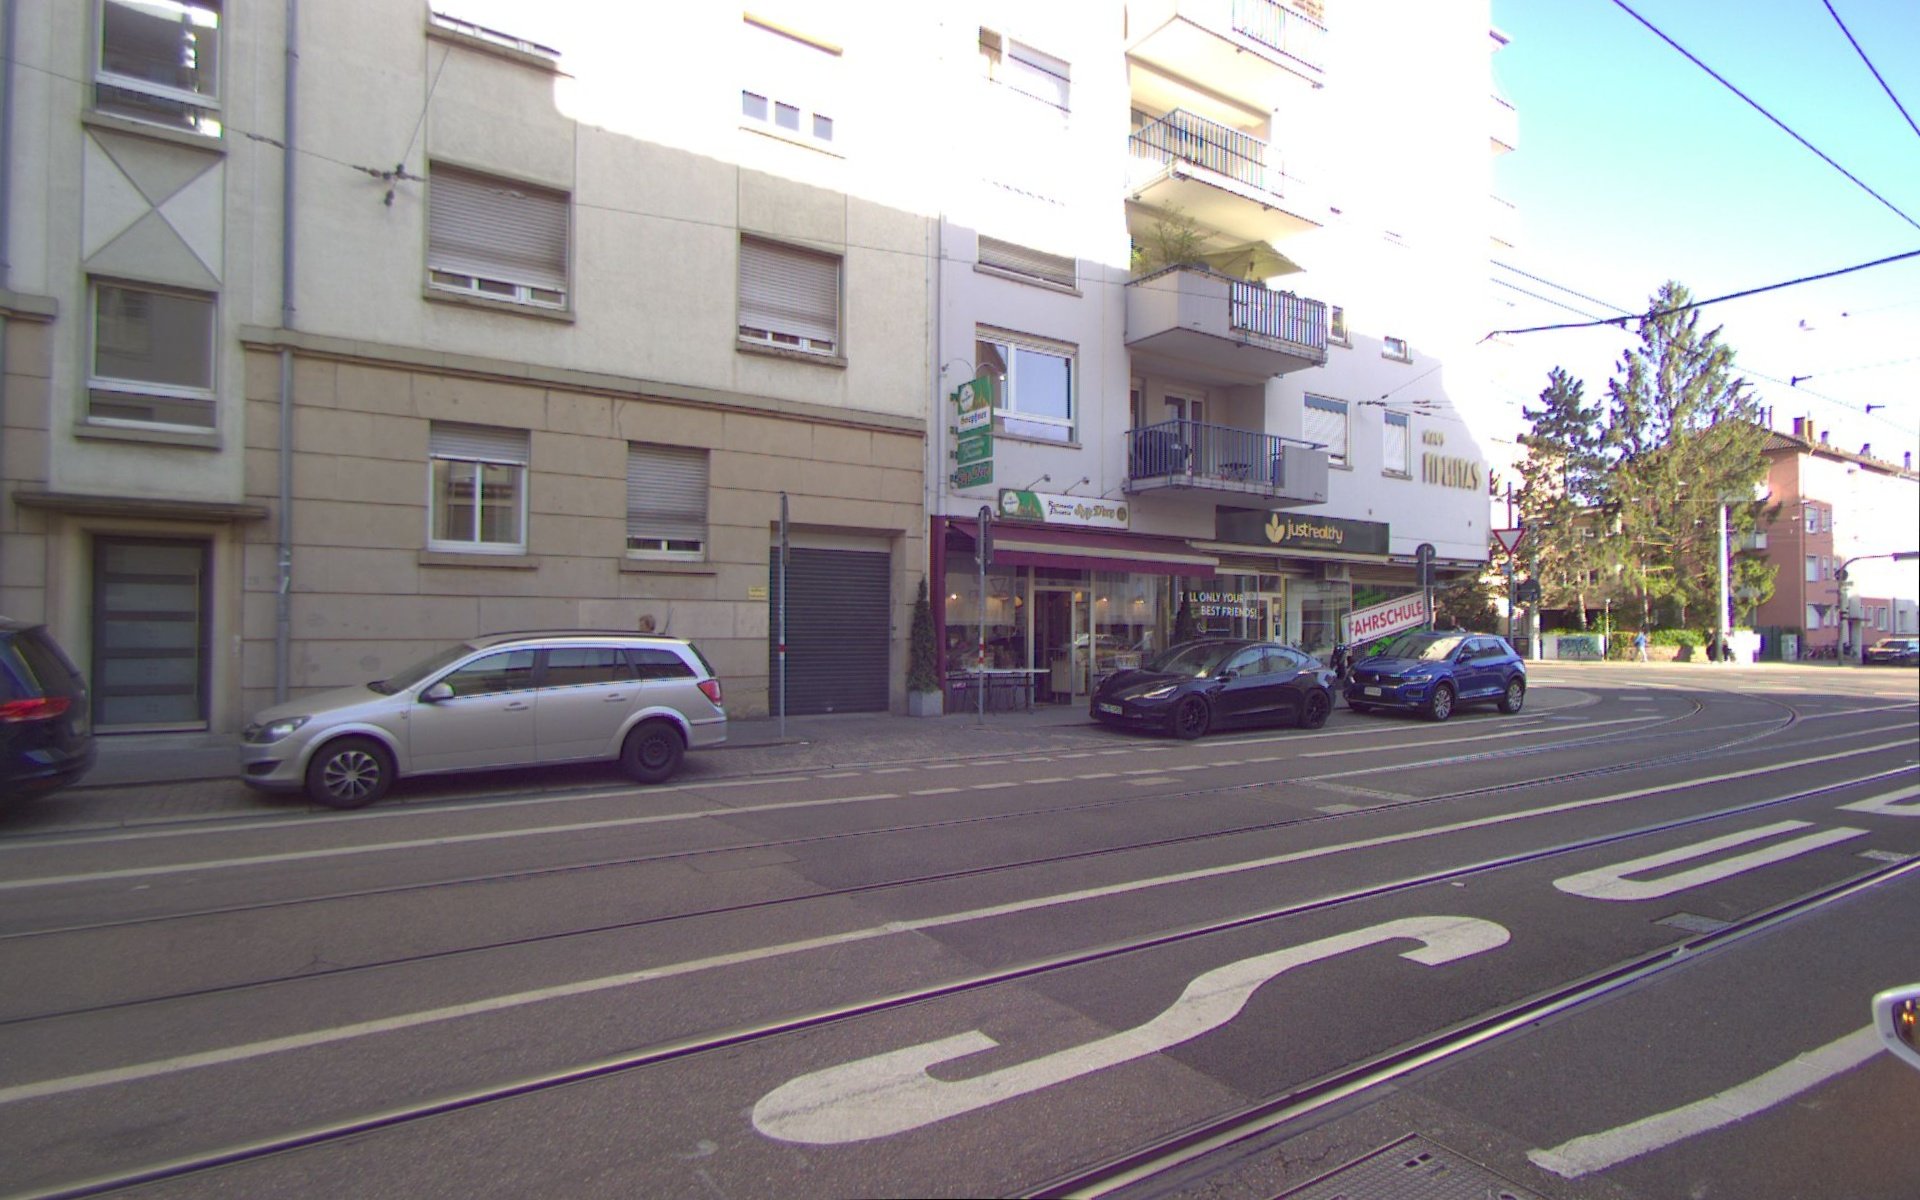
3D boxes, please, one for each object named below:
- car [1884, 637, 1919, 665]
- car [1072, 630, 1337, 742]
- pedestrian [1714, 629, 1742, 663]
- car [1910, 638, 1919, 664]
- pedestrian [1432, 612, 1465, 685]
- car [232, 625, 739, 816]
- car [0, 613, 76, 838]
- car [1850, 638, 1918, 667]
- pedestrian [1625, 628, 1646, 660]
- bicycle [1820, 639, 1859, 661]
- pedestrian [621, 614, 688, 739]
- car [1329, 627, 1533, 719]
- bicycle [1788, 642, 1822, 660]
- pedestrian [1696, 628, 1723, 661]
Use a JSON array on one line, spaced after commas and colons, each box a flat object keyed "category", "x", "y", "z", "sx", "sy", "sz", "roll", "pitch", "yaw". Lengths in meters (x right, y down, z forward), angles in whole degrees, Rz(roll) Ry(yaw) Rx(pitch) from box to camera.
[{"category": "car", "x": 54.239, "y": 2.851, "z": 56.928, "sx": 3.959, "sy": 1.517, "sz": 1.899, "roll": 1, "pitch": -2, "yaw": -34}, {"category": "car", "x": 3.970, "y": 1.296, "z": 16.049, "sx": 4.268, "sy": 1.529, "sz": 1.689, "roll": 2, "pitch": -1, "yaw": -34}, {"category": "pedestrian", "x": 38.894, "y": 2.341, "z": 50.891, "sx": 0.725, "sy": 1.713, "sz": 0.843, "roll": 1, "pitch": -1, "yaw": -17}, {"category": "car", "x": 58.067, "y": 2.996, "z": 59.440, "sx": 3.959, "sy": 1.517, "sz": 1.899, "roll": 1, "pitch": -2, "yaw": -34}, {"category": "pedestrian", "x": 13.928, "y": 1.373, "z": 28.636, "sx": 0.480, "sy": 2.040, "sz": 0.683, "roll": 1, "pitch": -1, "yaw": -30}, {"category": "car", "x": -4.630, "y": 1.075, "z": 10.199, "sx": 4.340, "sy": 1.529, "sz": 1.689, "roll": 2, "pitch": -1, "yaw": -34}, {"category": "car", "x": -9.135, "y": 0.883, "z": 7.036, "sx": 4.202, "sy": 1.637, "sz": 1.688, "roll": 2, "pitch": -1, "yaw": -36}, {"category": "car", "x": 49.502, "y": 2.783, "z": 53.802, "sx": 3.961, "sy": 1.452, "sz": 1.898, "roll": 1, "pitch": -2, "yaw": -36}, {"category": "pedestrian", "x": 35.818, "y": 2.334, "z": 53.276, "sx": 0.835, "sy": 1.647, "sz": 0.515, "roll": -1, "pitch": -2, "yaw": 27}, {"category": "bicycle", "x": 52.075, "y": 2.930, "z": 59.444, "sx": 3.267, "sy": 1.241, "sz": 0.844, "roll": 1, "pitch": -2, "yaw": -32}, {"category": "pedestrian", "x": -3.995, "y": 0.968, "z": 13.113, "sx": 0.713, "sy": 1.569, "sz": 0.694, "roll": 0, "pitch": -1, "yaw": -30}, {"category": "car", "x": 8.975, "y": 1.319, "z": 19.062, "sx": 3.959, "sy": 1.529, "sz": 1.733, "roll": 2, "pitch": -1, "yaw": -35}, {"category": "bicycle", "x": 46.903, "y": 2.798, "z": 55.745, "sx": 2.568, "sy": 0.964, "sz": 0.729, "roll": 1, "pitch": -2, "yaw": -32}, {"category": "pedestrian", "x": 38.687, "y": 2.289, "z": 51.865, "sx": 0.725, "sy": 1.713, "sz": 0.843, "roll": 1, "pitch": -1, "yaw": -17}]
